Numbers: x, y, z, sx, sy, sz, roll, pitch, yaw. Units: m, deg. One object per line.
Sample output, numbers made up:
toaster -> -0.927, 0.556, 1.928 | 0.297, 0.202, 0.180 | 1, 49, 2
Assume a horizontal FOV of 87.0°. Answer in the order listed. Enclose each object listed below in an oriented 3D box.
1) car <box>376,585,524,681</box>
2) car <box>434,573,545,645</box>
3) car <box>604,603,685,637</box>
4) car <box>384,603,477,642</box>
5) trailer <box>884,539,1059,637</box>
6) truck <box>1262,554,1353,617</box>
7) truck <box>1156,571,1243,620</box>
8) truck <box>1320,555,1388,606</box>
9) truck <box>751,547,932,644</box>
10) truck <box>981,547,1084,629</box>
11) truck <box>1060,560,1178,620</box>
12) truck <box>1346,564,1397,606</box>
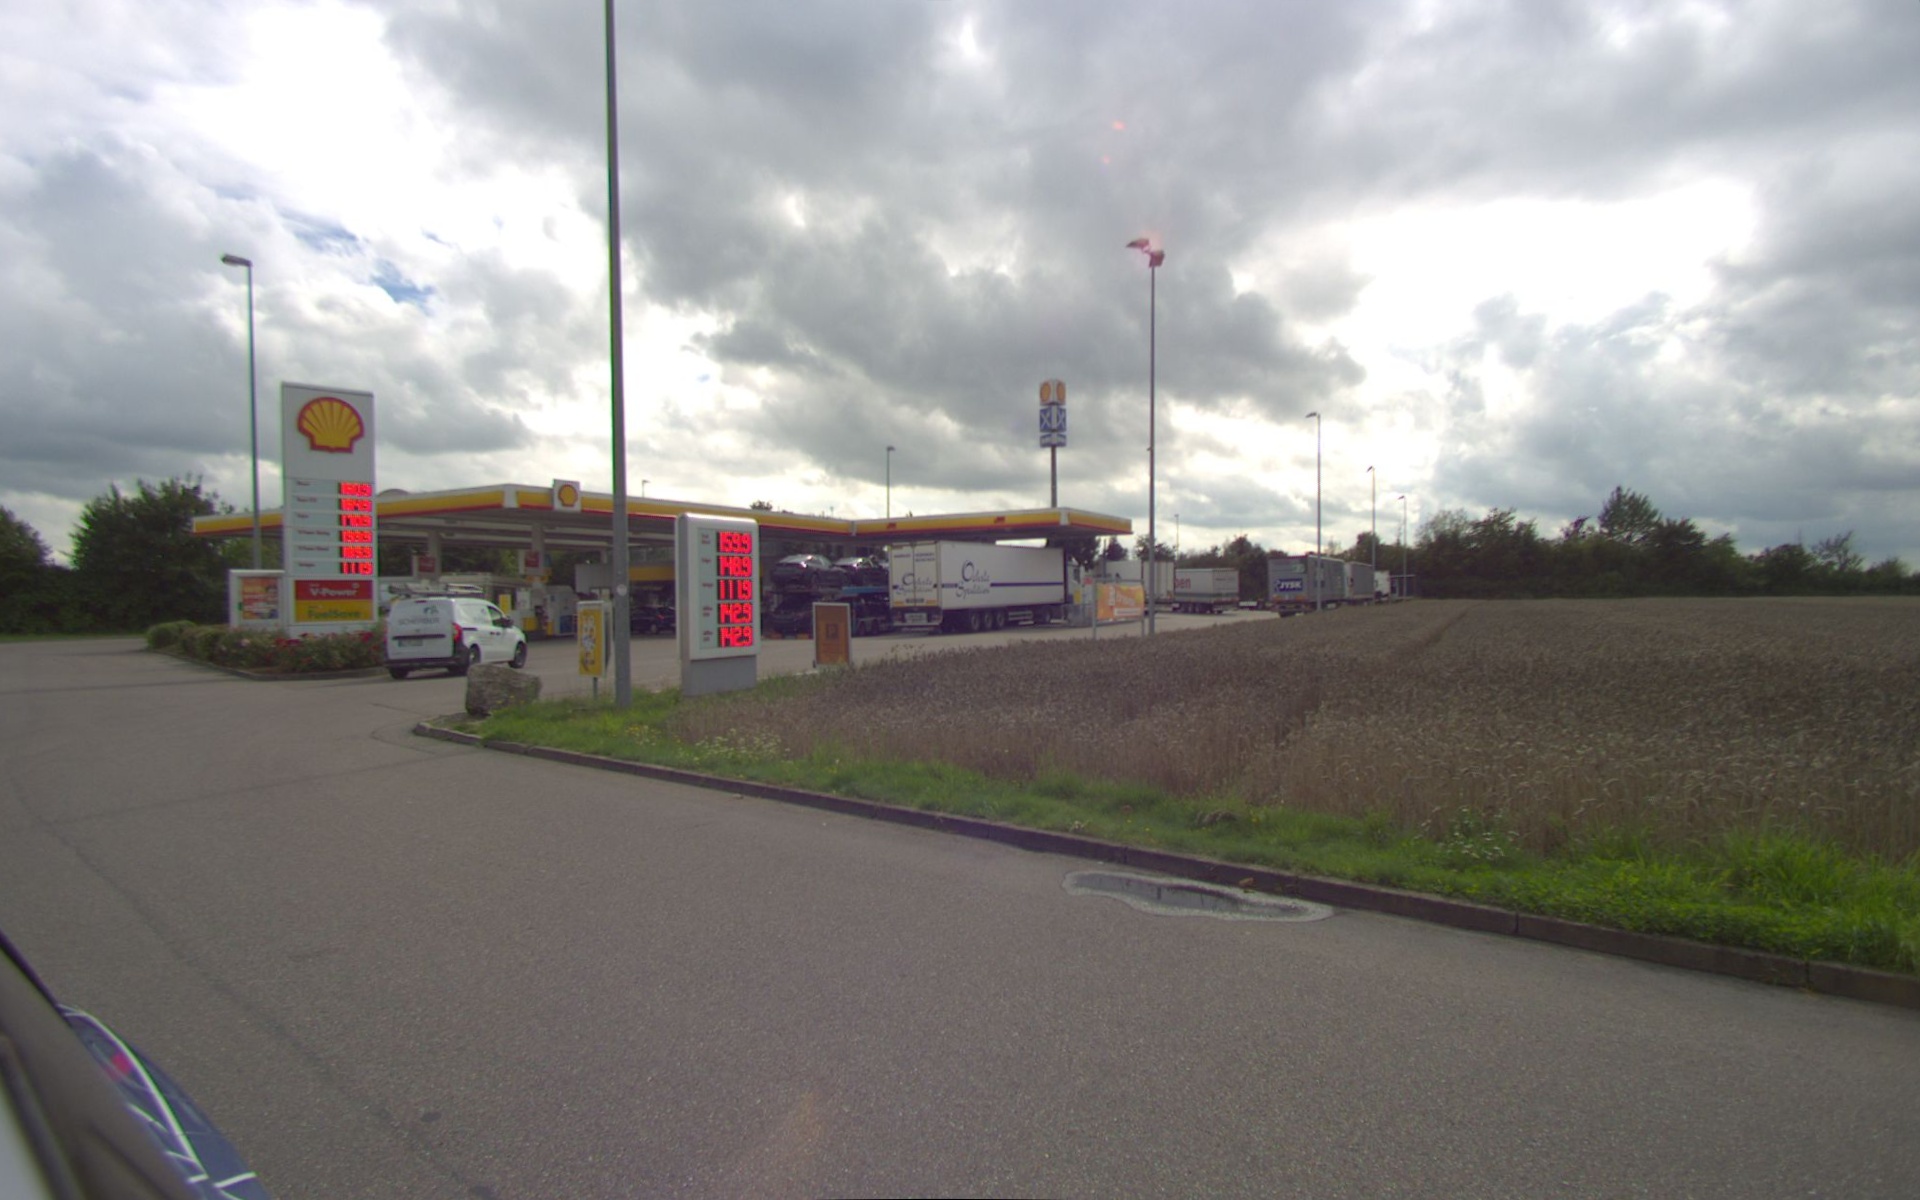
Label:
car -> -11.942, 0.746, 23.974 | 1.769, 2.027, 3.885 | -1, -1, -4
car -> -19.832, 0.371, 42.997 | 2.192, 2.808, 5.812 | -1, 0, -3
car -> -15.909, 0.995, 51.000 | 3.742, 1.613, 1.701 | -2, 0, 27
car -> -23.323, 0.957, 44.766 | 1.973, 1.571, 3.959 | -2, 0, 2
trailer -> 0.978, -0.521, 48.562 | 2.701, 4.055, 12.722 | -2, 0, 29
truck -> 24.384, -0.930, 70.214 | 2.814, 3.923, 15.297 | 0, 0, 31
truck -> 21.795, -0.363, 92.937 | 2.945, 4.142, 11.602 | -1, 0, -12
truck -> 33.756, -1.572, 86.185 | 2.814, 3.923, 15.297 | 0, 0, 31
truck -> -5.081, -0.234, 47.832 | 2.733, 3.953, 13.165 | 0, 0, 21
truck -> 4.014, -0.609, 54.159 | 2.701, 4.055, 7.099 | -2, 0, 29
truck -> 11.779, -0.746, 77.296 | 2.913, 4.143, 14.792 | 0, 0, -16
truck -> 41.765, -1.466, 102.345 | 2.814, 3.923, 12.673 | 0, 0, 31
